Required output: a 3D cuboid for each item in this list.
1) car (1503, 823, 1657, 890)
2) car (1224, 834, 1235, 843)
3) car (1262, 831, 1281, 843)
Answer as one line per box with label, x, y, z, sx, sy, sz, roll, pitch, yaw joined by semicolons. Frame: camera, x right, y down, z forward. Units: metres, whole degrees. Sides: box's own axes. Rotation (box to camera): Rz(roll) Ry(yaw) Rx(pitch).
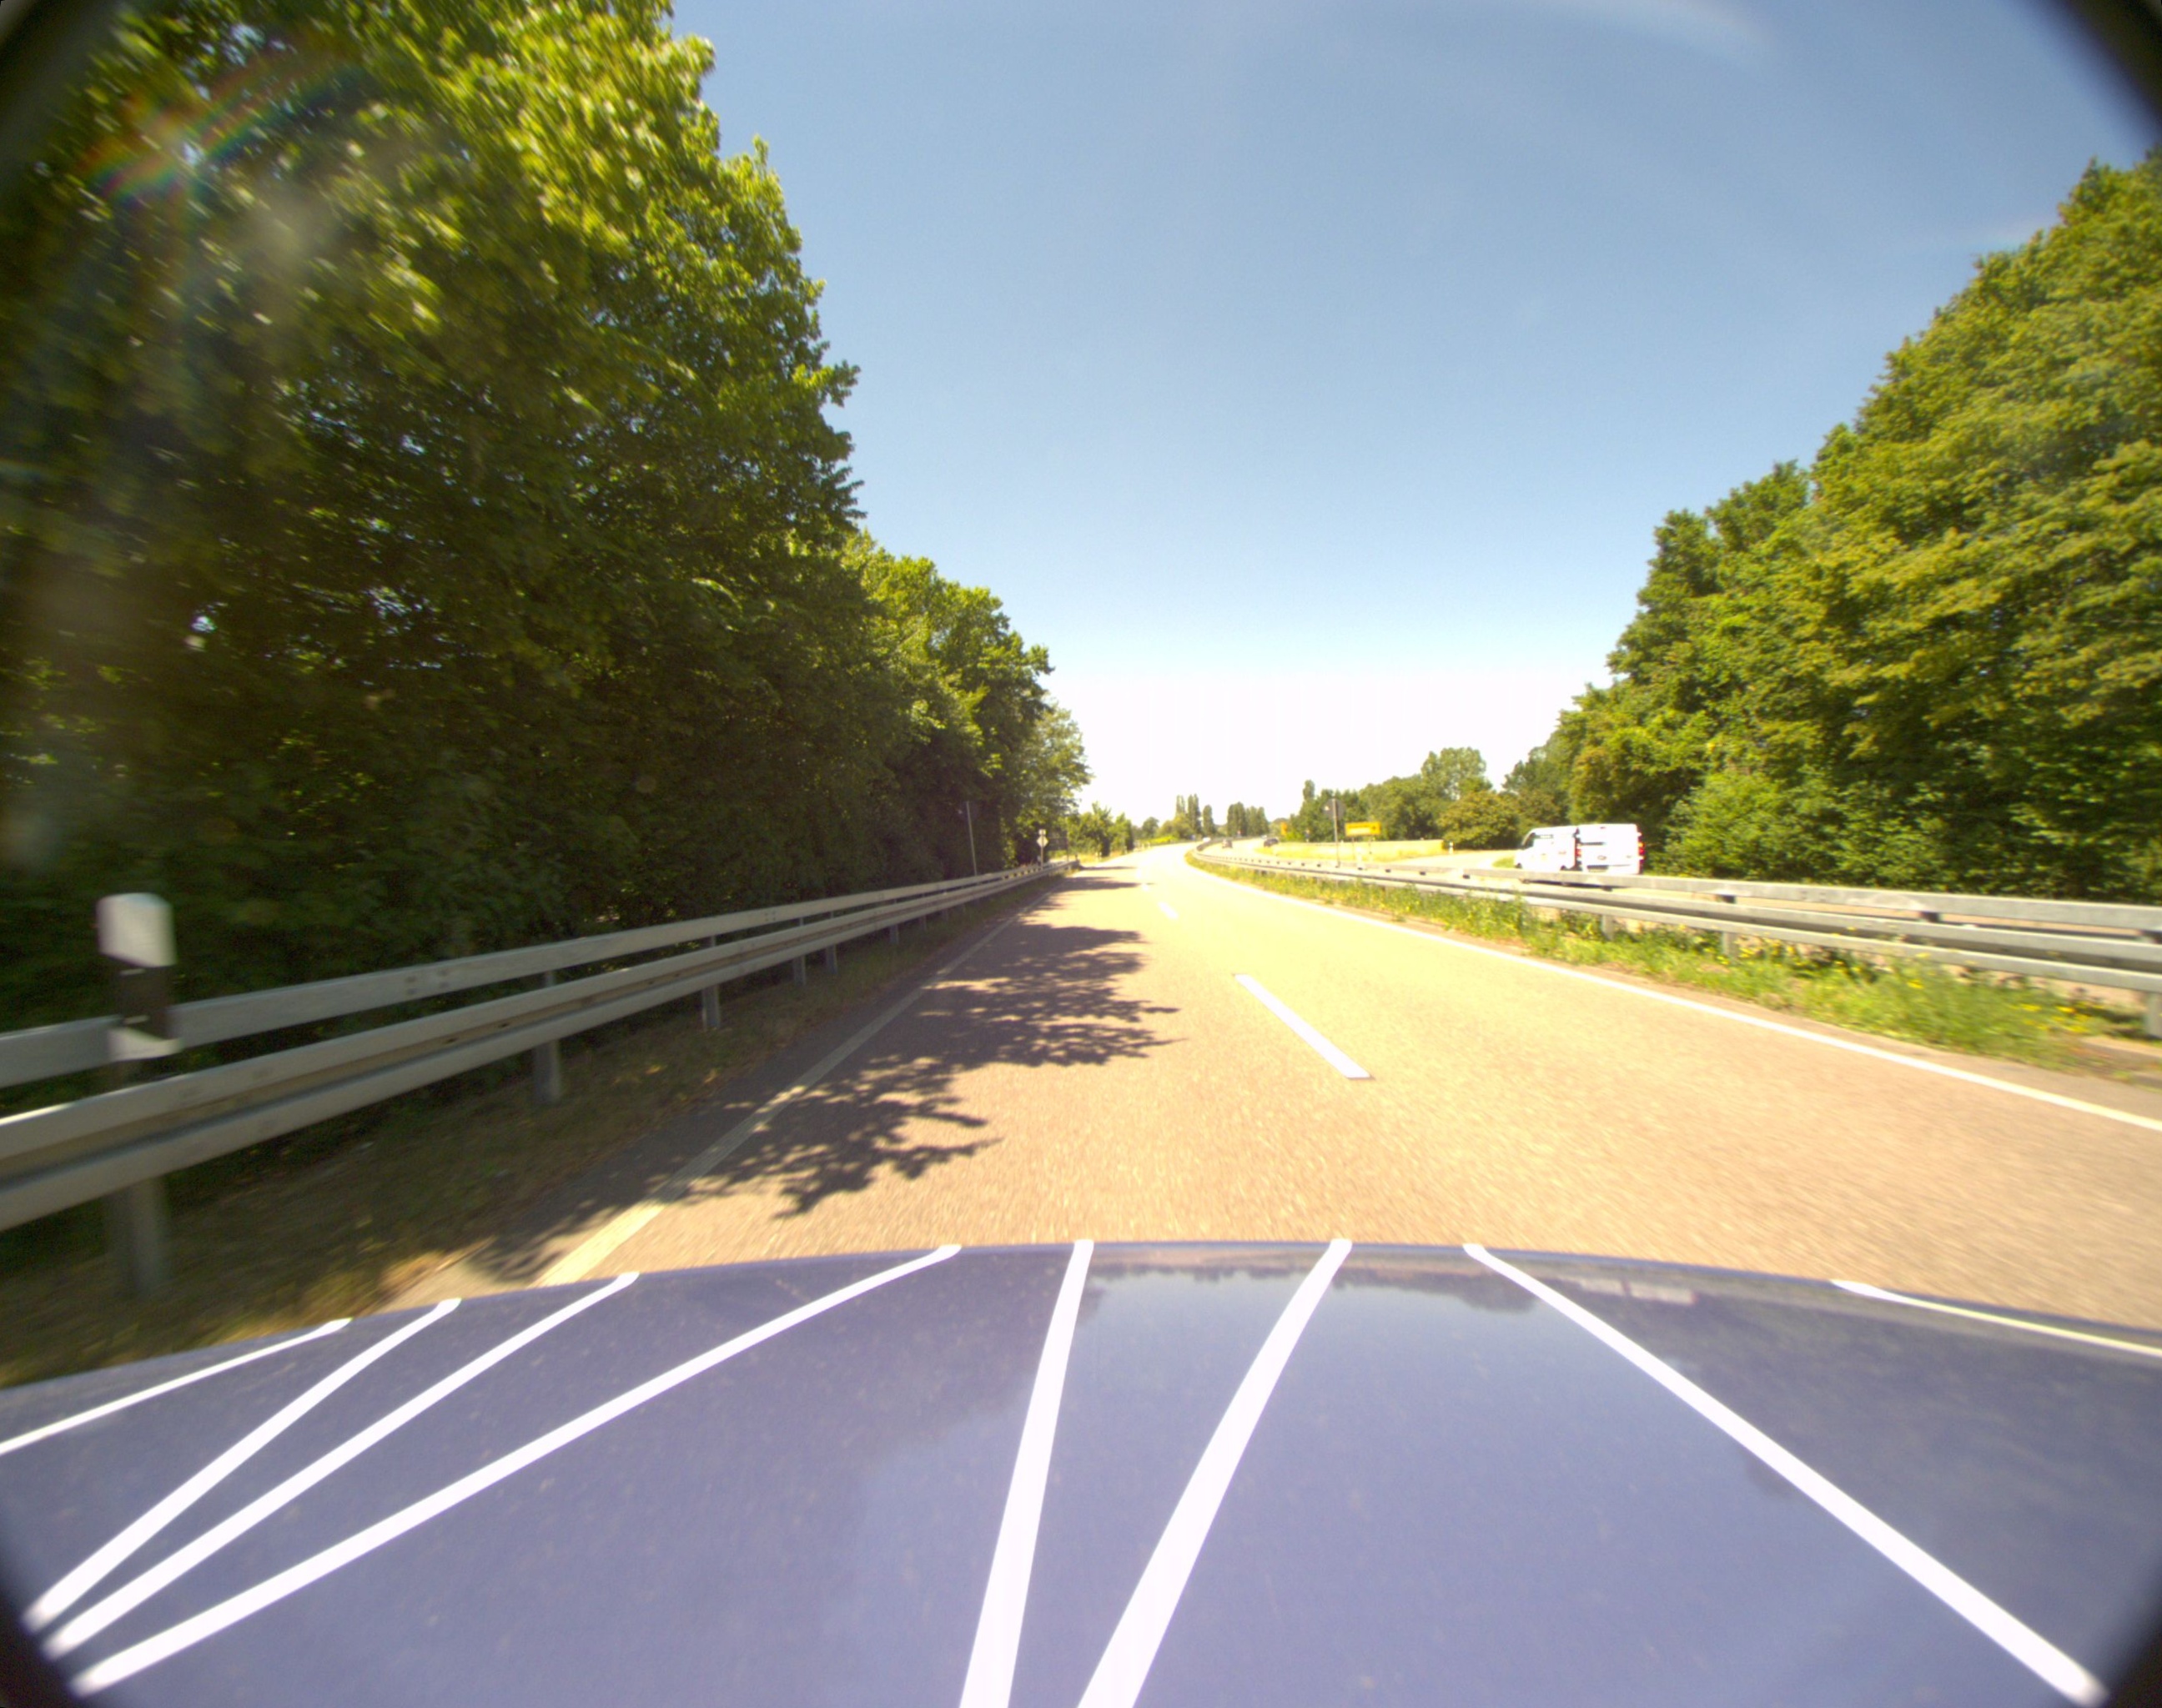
car;16.262;0.034;25.208;1.993;1.940;5.642;-1;1;7
car;27.647;-2.859;141.427;1.827;1.608;4.544;-1;1;13
car;35.695;-3.166;142.543;1.999;2.002;3.997;-4;1;-6
